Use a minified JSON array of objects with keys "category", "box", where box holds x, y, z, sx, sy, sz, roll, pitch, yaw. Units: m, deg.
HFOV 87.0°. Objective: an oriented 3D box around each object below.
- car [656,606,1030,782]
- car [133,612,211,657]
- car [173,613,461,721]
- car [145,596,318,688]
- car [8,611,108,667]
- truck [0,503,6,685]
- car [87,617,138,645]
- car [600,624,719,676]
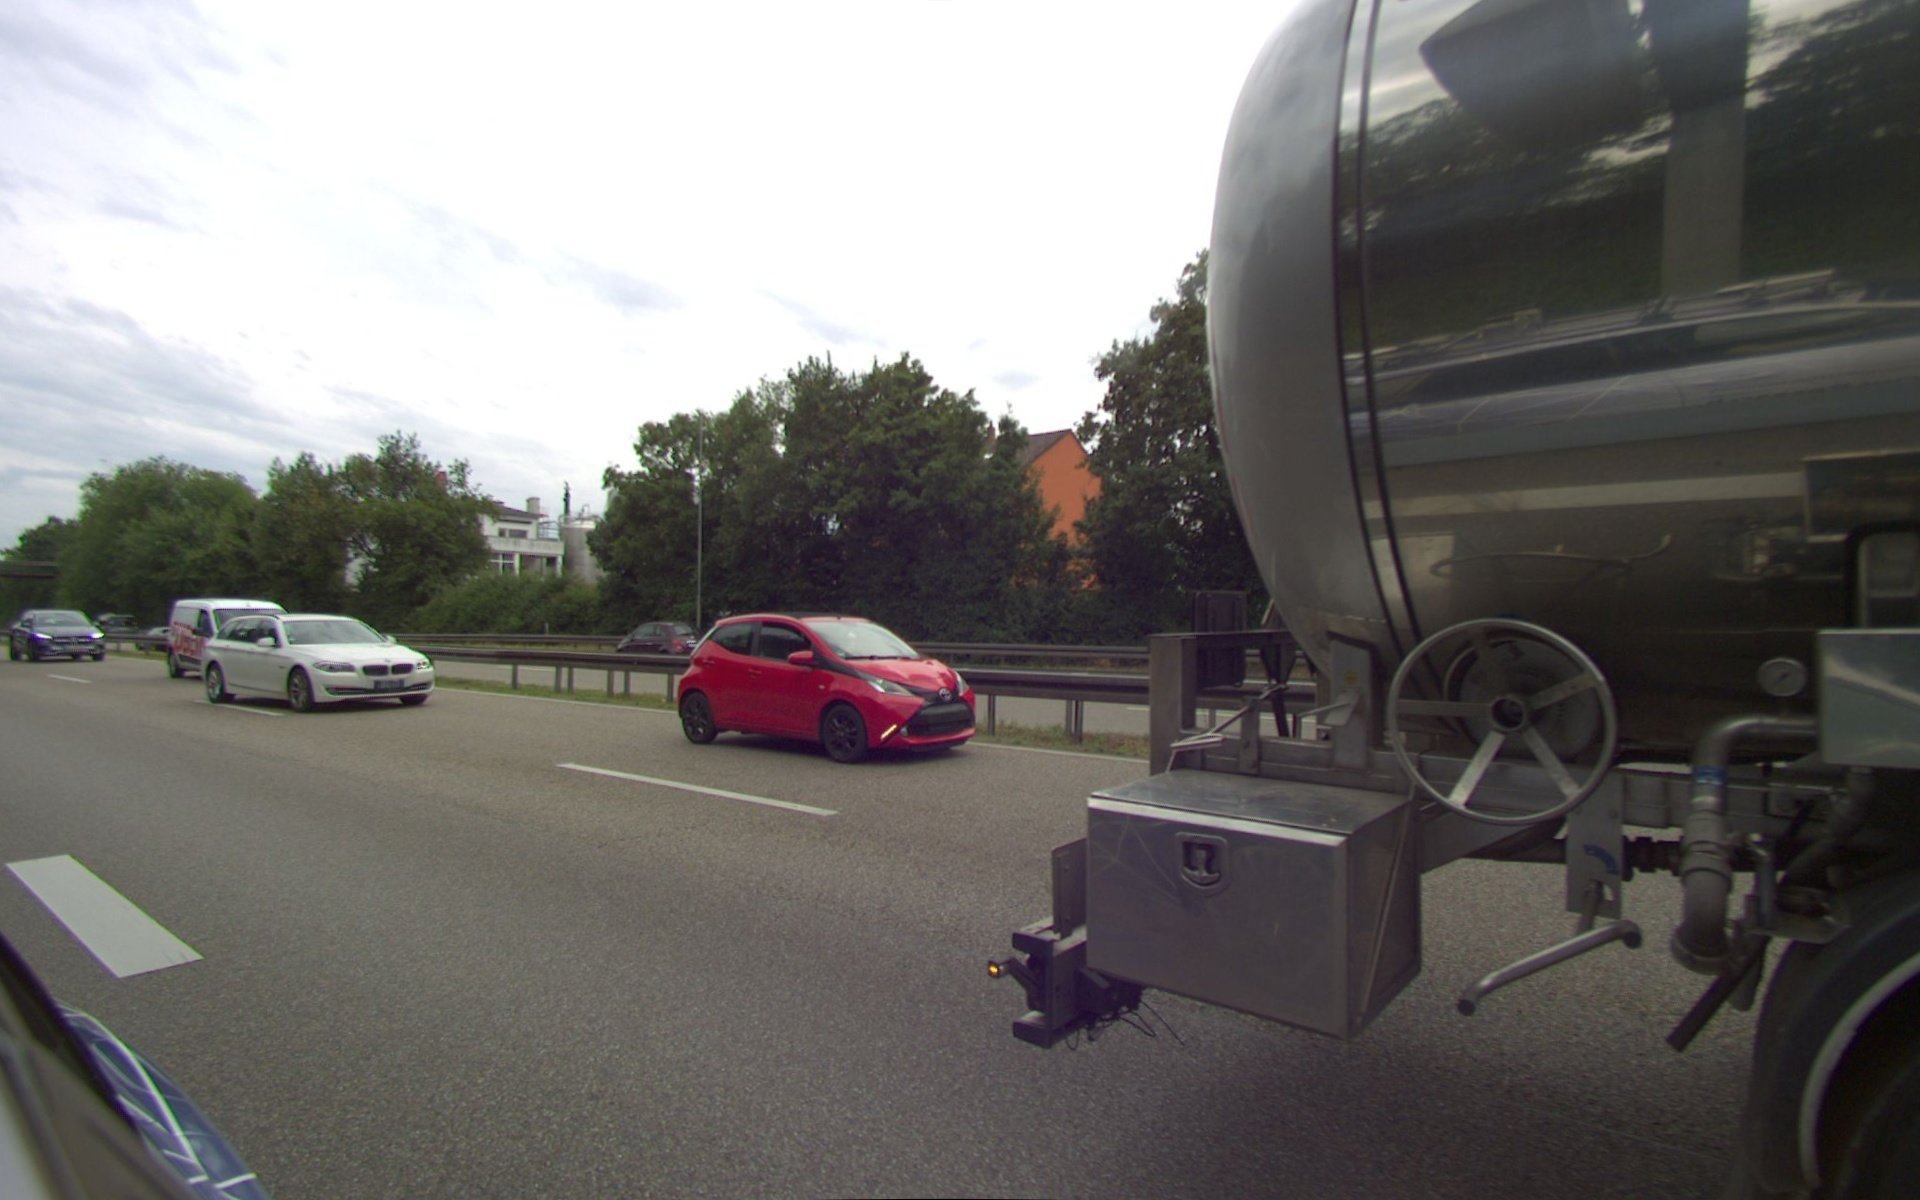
[{"category":"car","box":[-1.374,0.852,10.791,4.087,1.535,1.610,0,-2,40]},{"category":"car","box":[-37.169,1.604,47.713,3.995,2.029,1.974,-1,-2,39]},{"category":"car","box":[-10.426,0.975,16.265,5.245,1.475,2.040,-1,-2,35]},{"category":"car","box":[-16.514,0.905,22.855,5.000,1.864,1.829,-1,-2,38]},{"category":"car","box":[-28.927,1.219,32.425,3.997,1.664,1.825,-1,-2,40]},{"category":"truck","box":[-24.865,-0.086,23.527,7.462,3.999,2.925,-1,-1,39]},{"category":"car","box":[-56.481,2.066,67.427,4.270,1.780,1.560,-1,-2,36]},{"category":"car","box":[-9.316,1.500,31.258,3.826,1.507,1.559,-1,-2,37]}]
